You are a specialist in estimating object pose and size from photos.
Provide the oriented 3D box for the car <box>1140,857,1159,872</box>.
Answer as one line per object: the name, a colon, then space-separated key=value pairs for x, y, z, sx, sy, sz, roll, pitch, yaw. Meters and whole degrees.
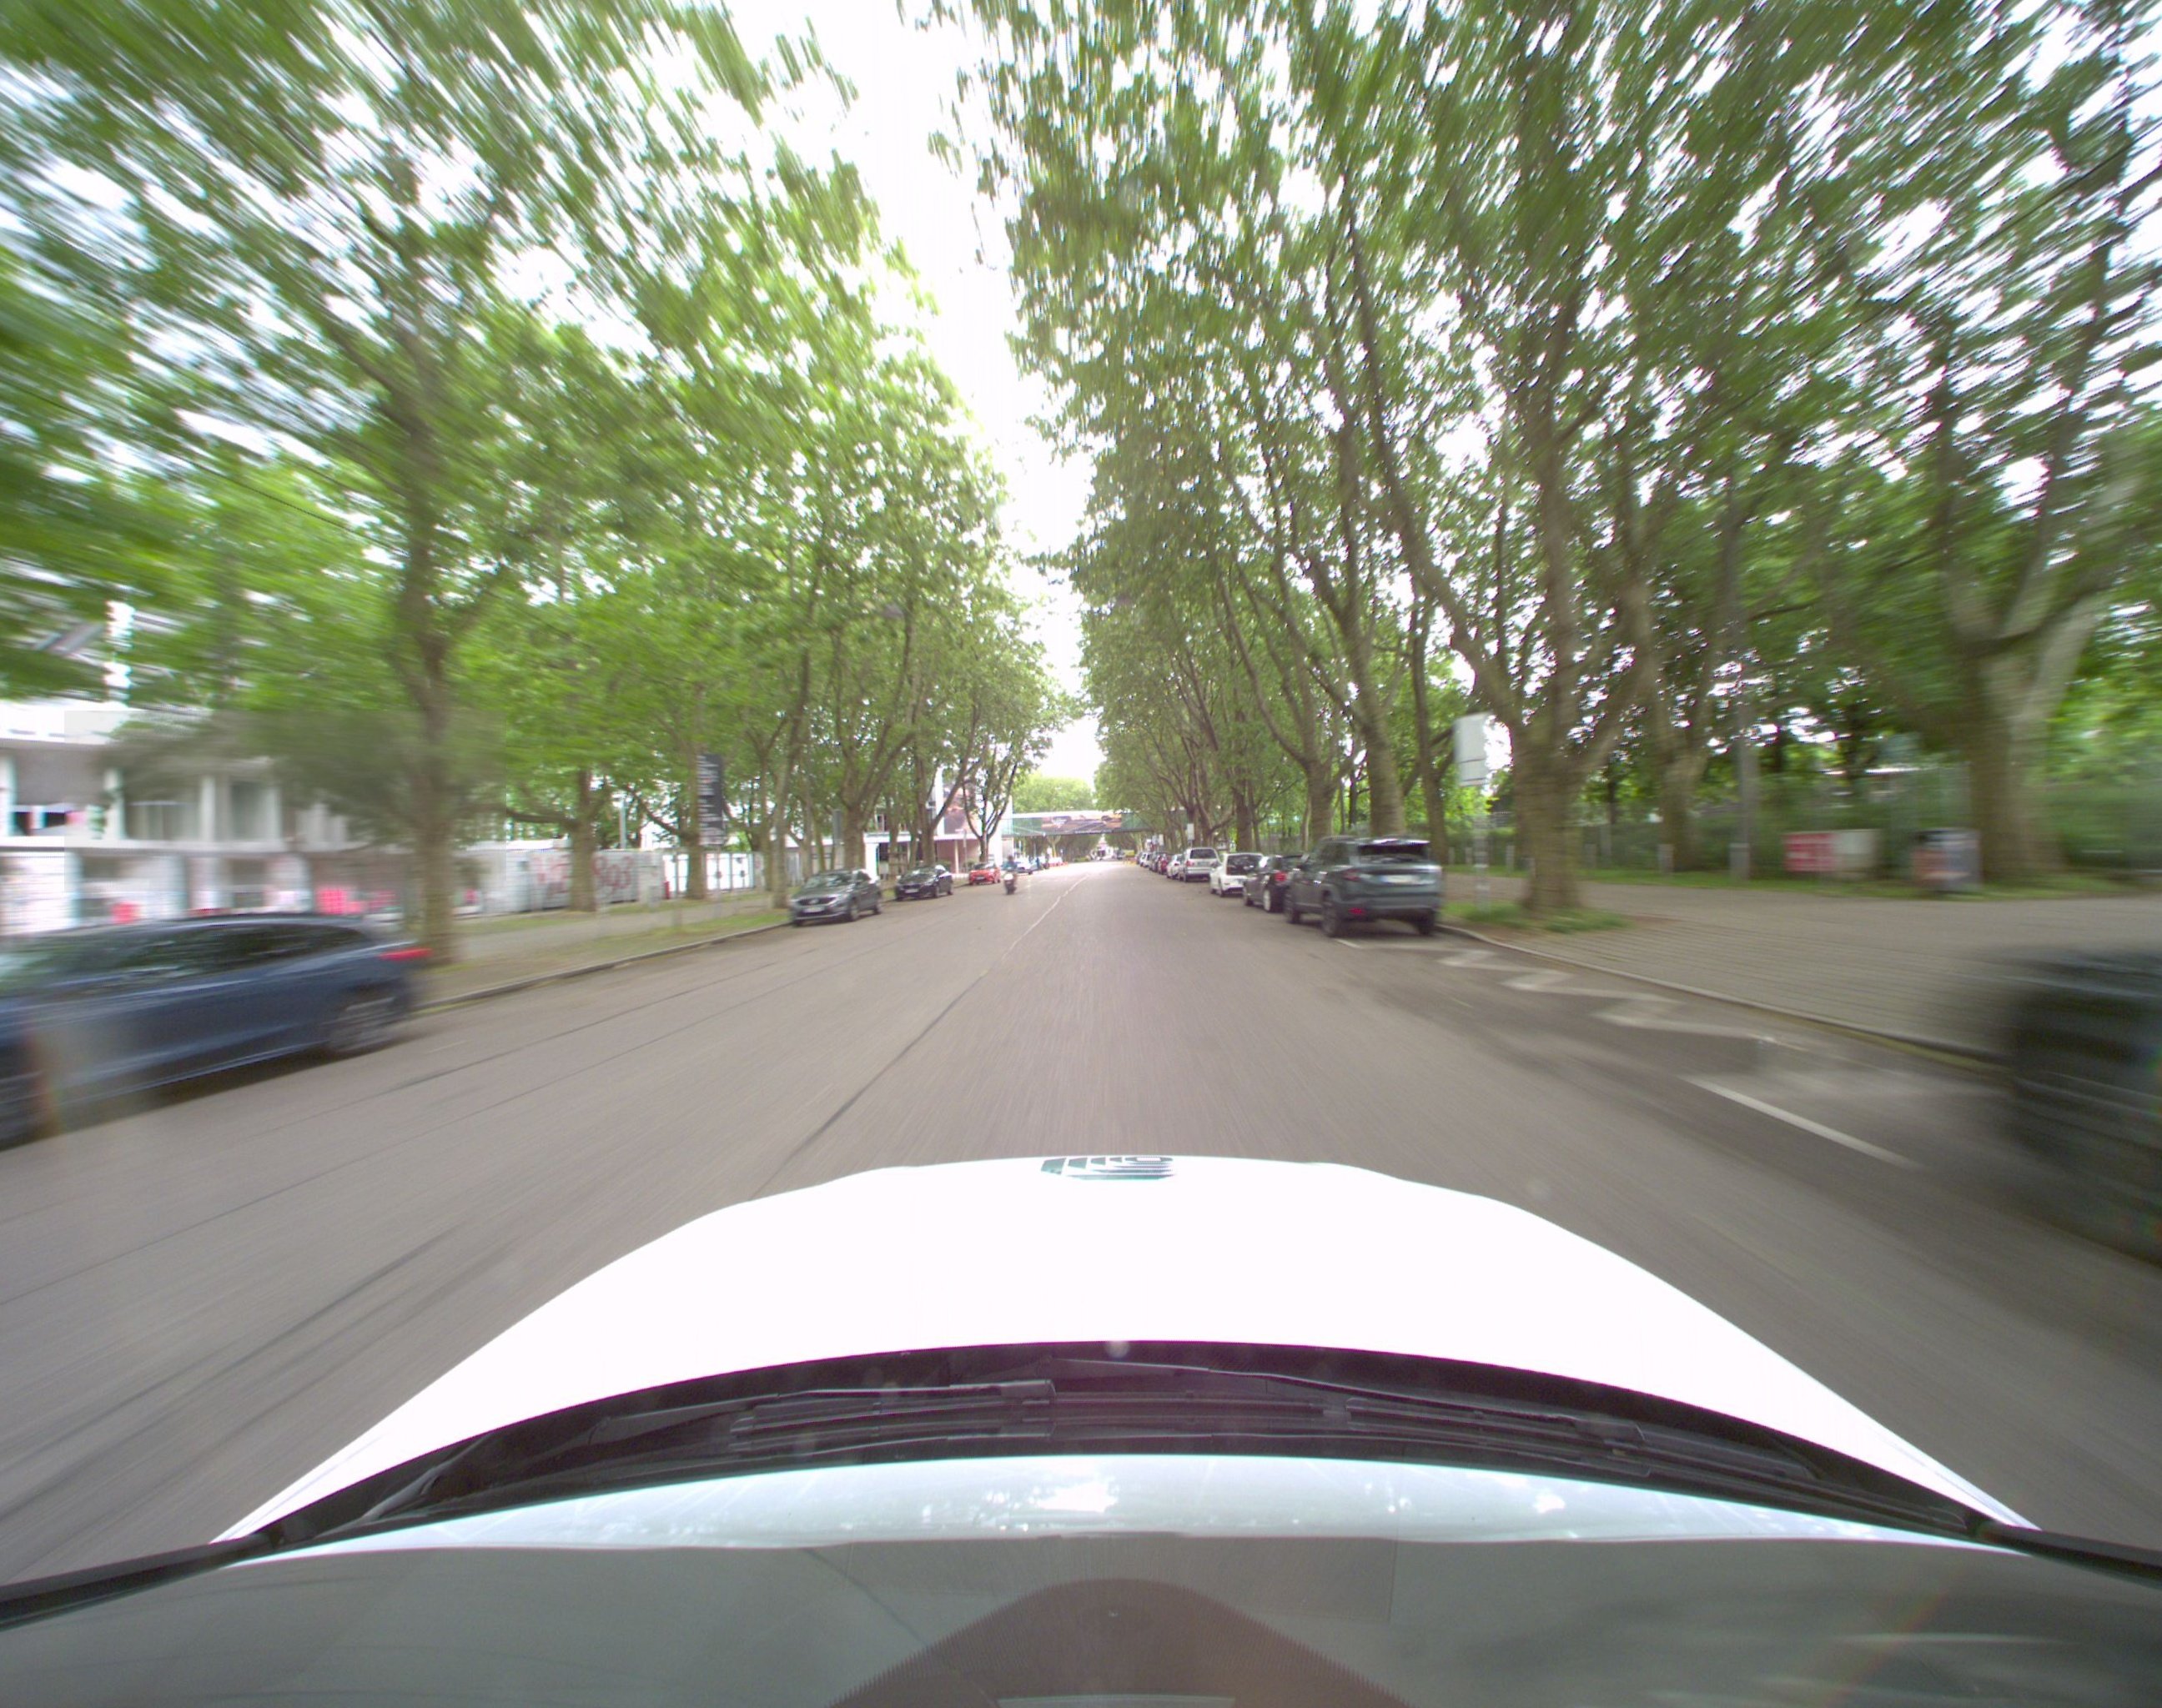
car: x=7.917 y=1.179 z=94.452 sx=1.907 sy=1.618 sz=4.751 roll=-2 pitch=-1 yaw=2

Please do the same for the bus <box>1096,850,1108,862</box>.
bus: x=6.013 y=0.720 z=235.139 sx=3.028 sy=3.160 sz=12.679 roll=-4 pitch=-1 yaw=1

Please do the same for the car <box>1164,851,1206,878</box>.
car: x=5.947 y=0.598 z=46.997 sx=1.870 sy=1.427 sz=4.587 roll=-2 pitch=0 yaw=1

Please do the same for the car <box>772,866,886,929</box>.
car: x=-7.318 y=1.206 z=24.099 sx=1.871 sy=1.527 sz=4.153 roll=-4 pitch=0 yaw=2

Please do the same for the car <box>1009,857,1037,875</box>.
car: x=-5.536 y=1.116 z=78.120 sx=2.065 sy=1.563 sz=4.758 roll=-3 pitch=0 yaw=2

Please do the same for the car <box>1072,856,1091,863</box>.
car: x=0.192 y=1.319 z=211.398 sx=4.681 sy=1.584 sz=1.865 roll=-2 pitch=-1 yaw=2

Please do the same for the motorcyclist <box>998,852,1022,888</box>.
motorcyclist: x=-2.990 y=0.666 z=34.260 sx=0.868 sy=1.480 sz=1.264 roll=-2 pitch=0 yaw=-2

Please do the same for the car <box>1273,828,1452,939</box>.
car: x=4.912 y=0.455 z=14.965 sx=1.702 sy=1.698 sz=4.630 roll=-1 pitch=0 yaw=0

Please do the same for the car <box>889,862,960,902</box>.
car: x=-6.770 y=1.160 z=35.678 sx=1.819 sy=1.465 sz=4.632 roll=-4 pitch=0 yaw=4

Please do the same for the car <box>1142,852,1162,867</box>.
car: x=7.530 y=0.611 z=86.584 sx=1.800 sy=1.526 sz=4.098 roll=-2 pitch=-1 yaw=2

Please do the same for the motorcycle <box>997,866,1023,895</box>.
motorcycle: x=-2.969 y=1.087 z=34.325 sx=0.871 sy=1.079 sz=3.051 roll=-2 pitch=0 yaw=-2

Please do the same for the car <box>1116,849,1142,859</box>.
car: x=13.025 y=-0.048 z=221.099 sx=6.802 sy=2.513 sz=2.316 roll=-3 pitch=0 yaw=-1

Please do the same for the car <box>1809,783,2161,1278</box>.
car: x=4.492 y=0.559 z=1.718 sx=1.771 sy=1.673 sz=4.638 roll=-2 pitch=0 yaw=1

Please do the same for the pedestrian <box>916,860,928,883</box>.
pedestrian: x=-11.904 y=1.311 z=61.100 sx=0.588 sy=1.620 sz=0.794 roll=-2 pitch=-1 yaw=11

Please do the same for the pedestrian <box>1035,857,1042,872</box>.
pedestrian: x=-4.152 y=0.986 z=79.264 sx=0.581 sy=1.466 sz=0.568 roll=-2 pitch=0 yaw=5

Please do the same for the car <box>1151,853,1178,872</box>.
car: x=6.613 y=0.676 z=64.994 sx=1.869 sy=1.427 sz=4.482 roll=-2 pitch=0 yaw=2

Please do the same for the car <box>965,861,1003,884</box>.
car: x=-6.360 y=1.190 z=53.738 sx=1.801 sy=1.354 sz=4.002 roll=-3 pitch=0 yaw=2

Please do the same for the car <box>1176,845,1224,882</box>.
car: x=5.994 y=0.453 z=41.565 sx=1.896 sy=1.738 sz=4.508 roll=-2 pitch=0 yaw=2

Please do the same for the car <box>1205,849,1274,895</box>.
car: x=5.335 y=0.573 z=27.808 sx=1.701 sy=1.427 sz=3.891 roll=-1 pitch=0 yaw=2

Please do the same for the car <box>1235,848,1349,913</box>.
car: x=5.218 y=0.599 z=20.733 sx=1.702 sy=1.415 sz=4.360 roll=-2 pitch=0 yaw=0

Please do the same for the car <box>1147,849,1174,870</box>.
car: x=6.987 y=0.498 z=71.892 sx=1.974 sy=1.680 sz=4.732 roll=-2 pitch=-1 yaw=1

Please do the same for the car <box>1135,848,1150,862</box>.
car: x=8.351 y=0.126 z=110.800 sx=1.840 sy=1.783 sz=5.213 roll=-1 pitch=0 yaw=2

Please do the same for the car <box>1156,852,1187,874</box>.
car: x=6.434 y=0.640 z=58.321 sx=1.850 sy=1.481 sz=4.179 roll=-2 pitch=0 yaw=1

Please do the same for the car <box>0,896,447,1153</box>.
car: x=-7.892 y=1.245 z=6.624 sx=1.718 sy=1.486 sz=4.576 roll=-3 pitch=0 yaw=2
